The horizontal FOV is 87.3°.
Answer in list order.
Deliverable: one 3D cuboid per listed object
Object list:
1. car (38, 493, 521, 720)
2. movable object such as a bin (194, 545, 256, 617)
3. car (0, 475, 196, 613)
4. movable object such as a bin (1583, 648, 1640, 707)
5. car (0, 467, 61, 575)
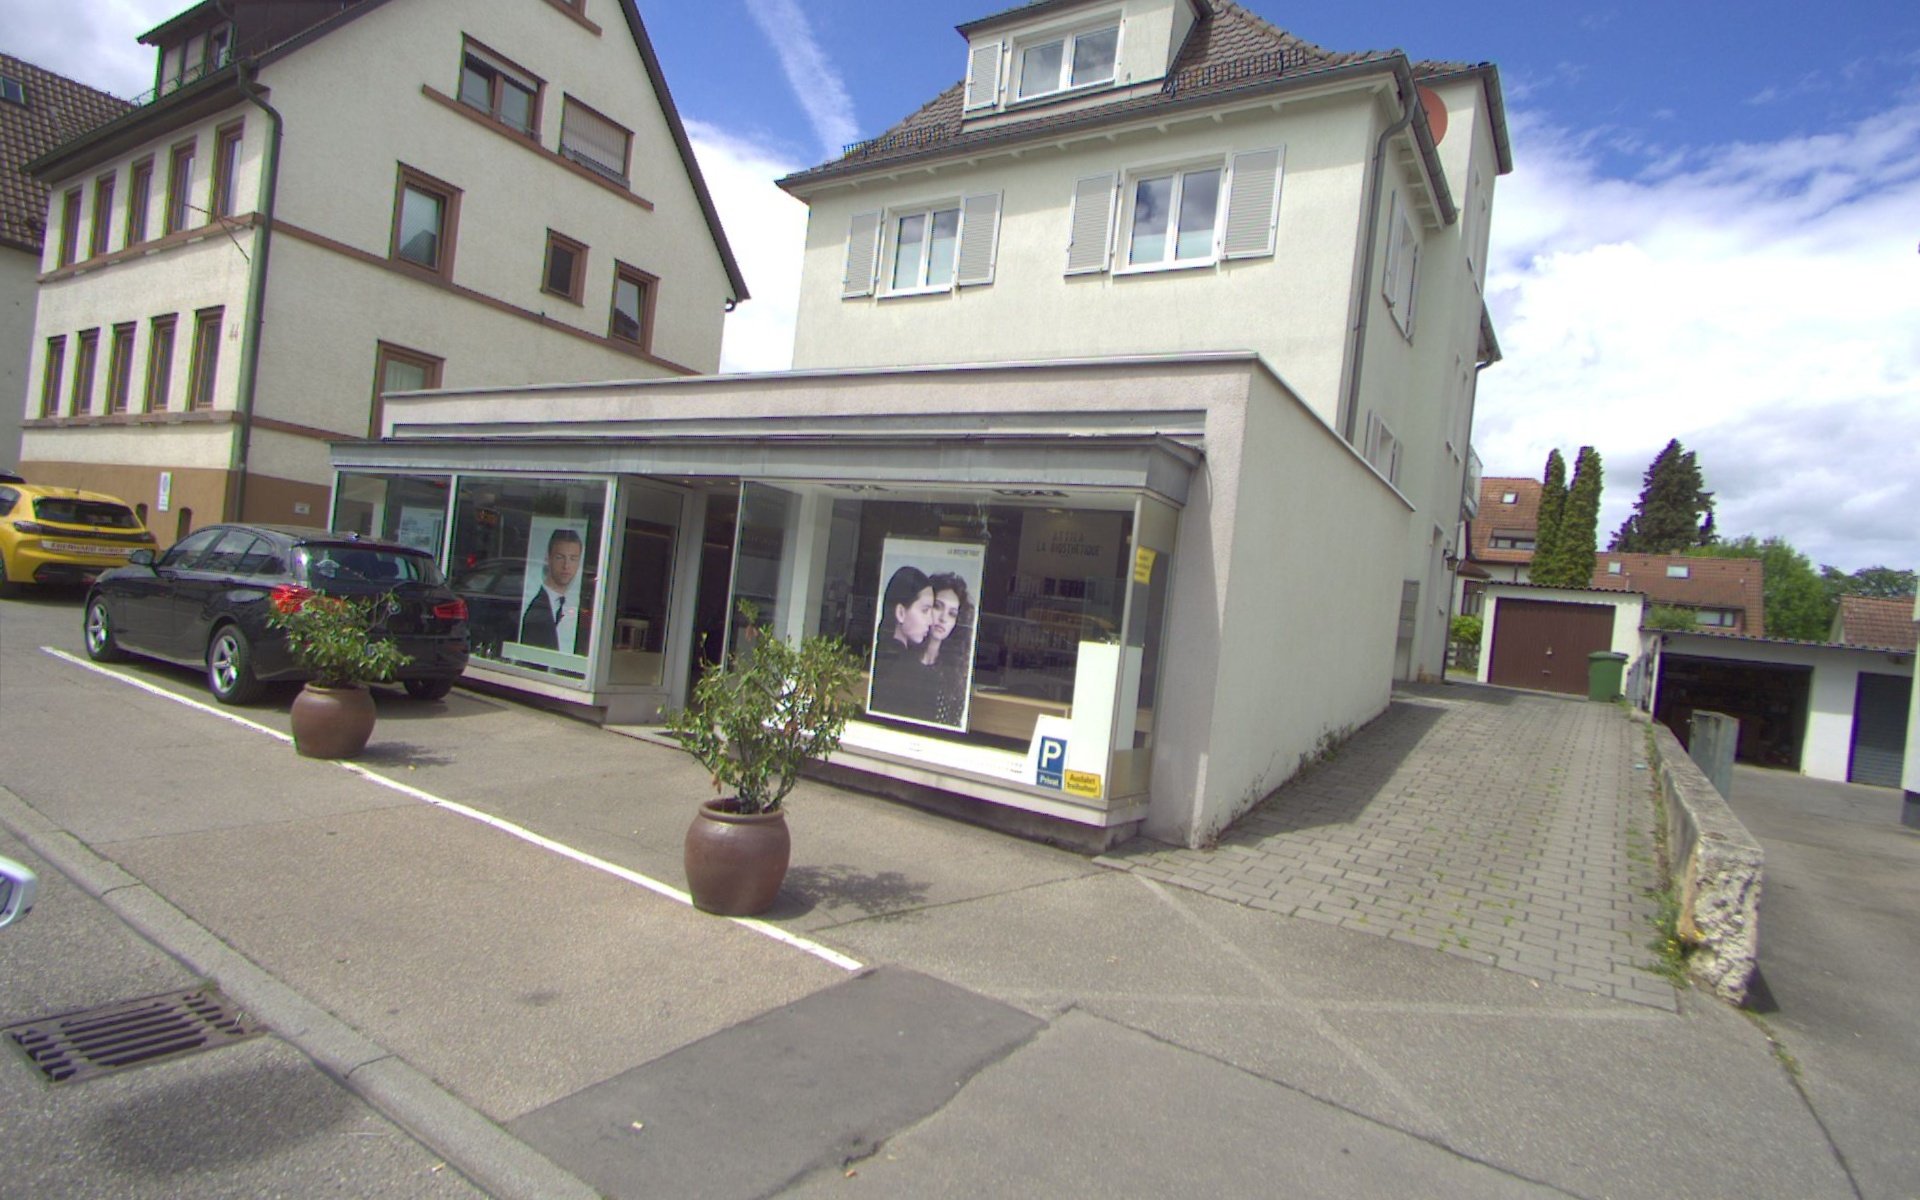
[{"bbox_3d":[-6.359,-0.010,9.271,4.460,1.465,1.970,7,0,32],"label":"car"},{"bbox_3d":[-10.551,-0.273,14.443,0.589,0.936,0.501,7,1,38],"label":"movable object such as a bin"},{"bbox_3d":[-12.987,-0.892,14.337,4.235,1.466,1.879,9,1,32],"label":"car"},{"bbox_3d":[13.507,1.611,20.883,0.849,1.092,1.278,7,0,32],"label":"movable object such as a bin"},{"bbox_3d":[-16.995,-1.483,16.755,4.511,1.632,1.861,7,1,33],"label":"car"}]
